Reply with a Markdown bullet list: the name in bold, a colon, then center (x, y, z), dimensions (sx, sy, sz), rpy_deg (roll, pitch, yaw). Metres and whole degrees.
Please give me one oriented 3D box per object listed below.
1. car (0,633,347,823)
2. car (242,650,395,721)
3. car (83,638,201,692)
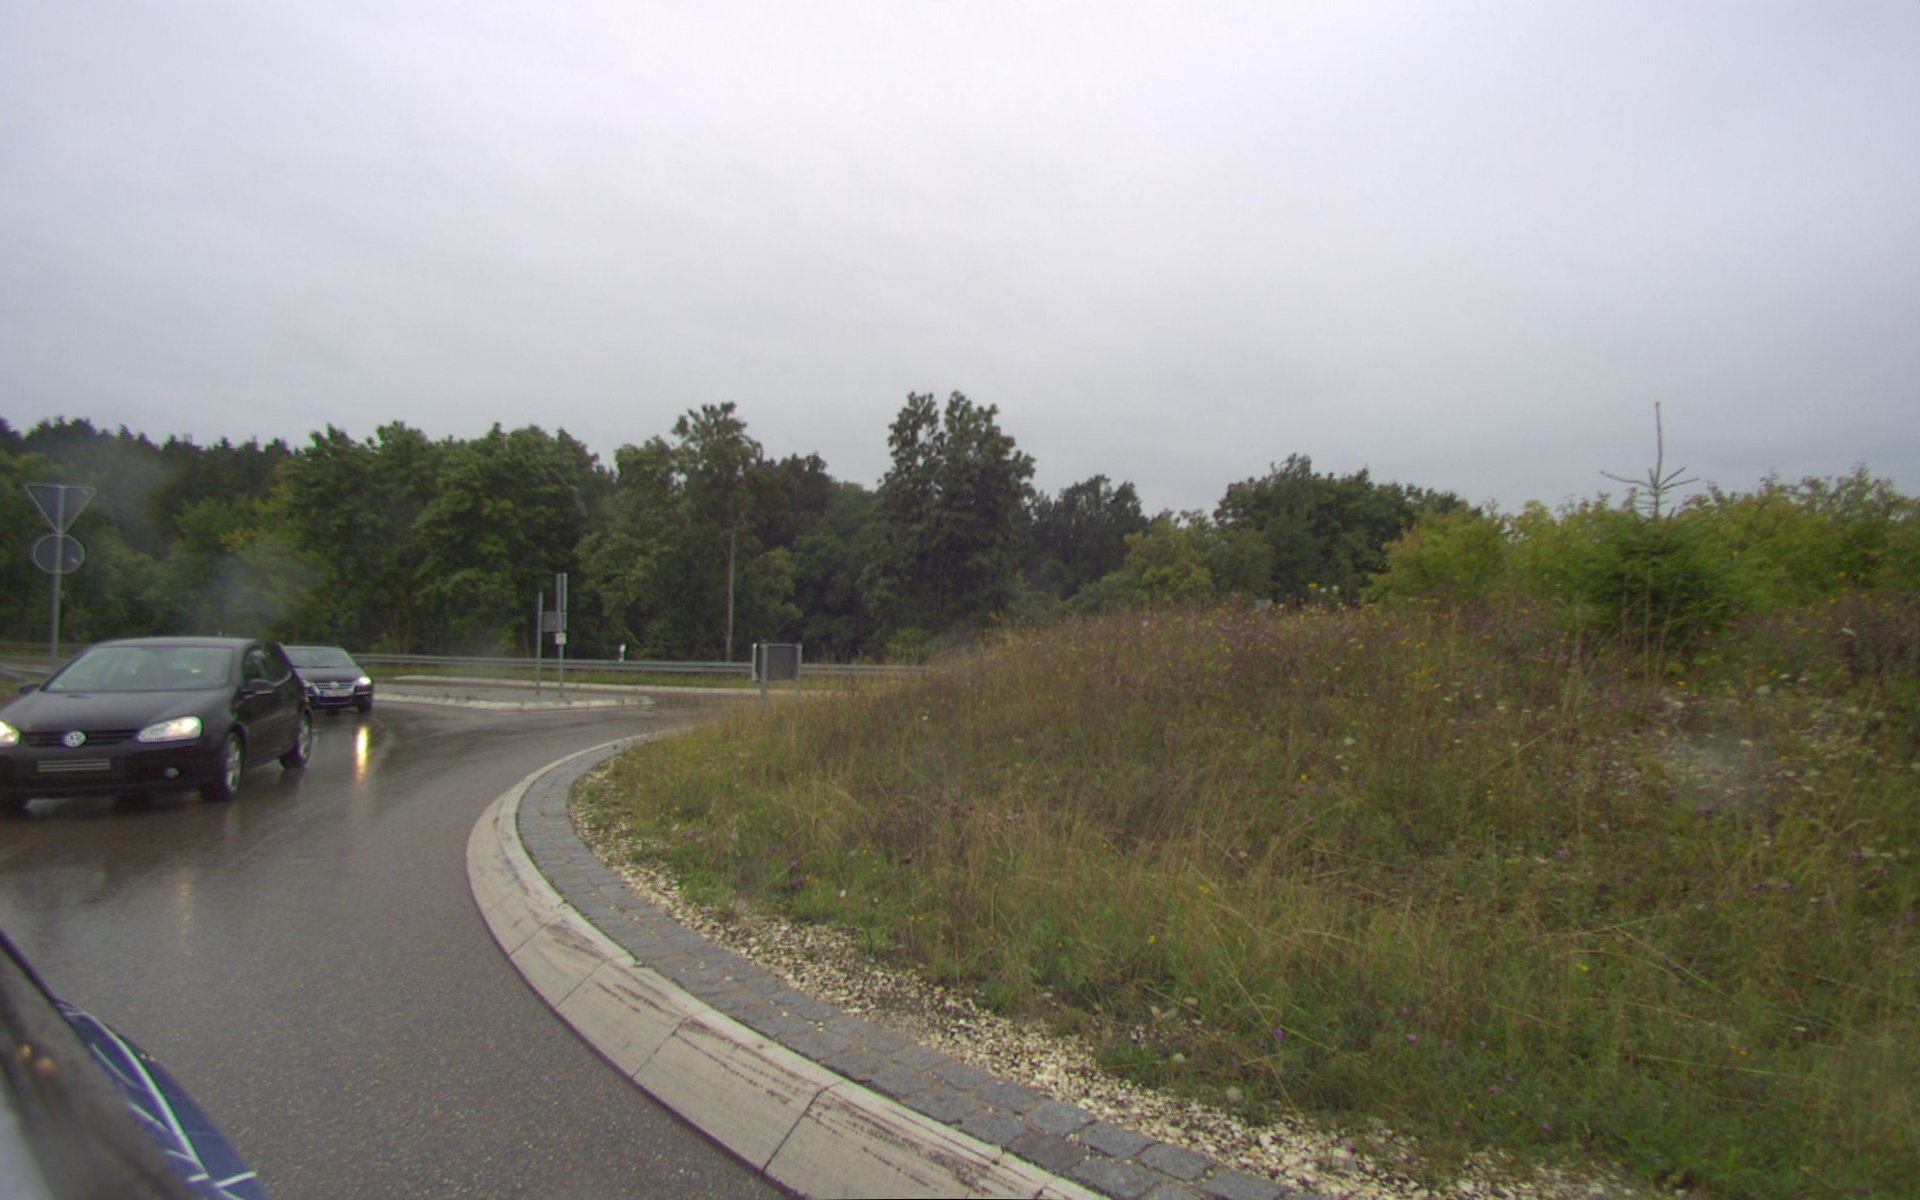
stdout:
- **car**: center (-7.626, 1.079, 9.918), dimensions (1.842, 1.432, 4.517), rpy_deg (1, -3, -19)
- **car**: center (-13.999, 1.817, 21.973), dimensions (1.920, 1.382, 4.507), rpy_deg (4, -5, -43)
- **car**: center (-23.751, 1.893, 29.348), dimensions (4.499, 1.432, 1.741), rpy_deg (-3, -5, 39)
